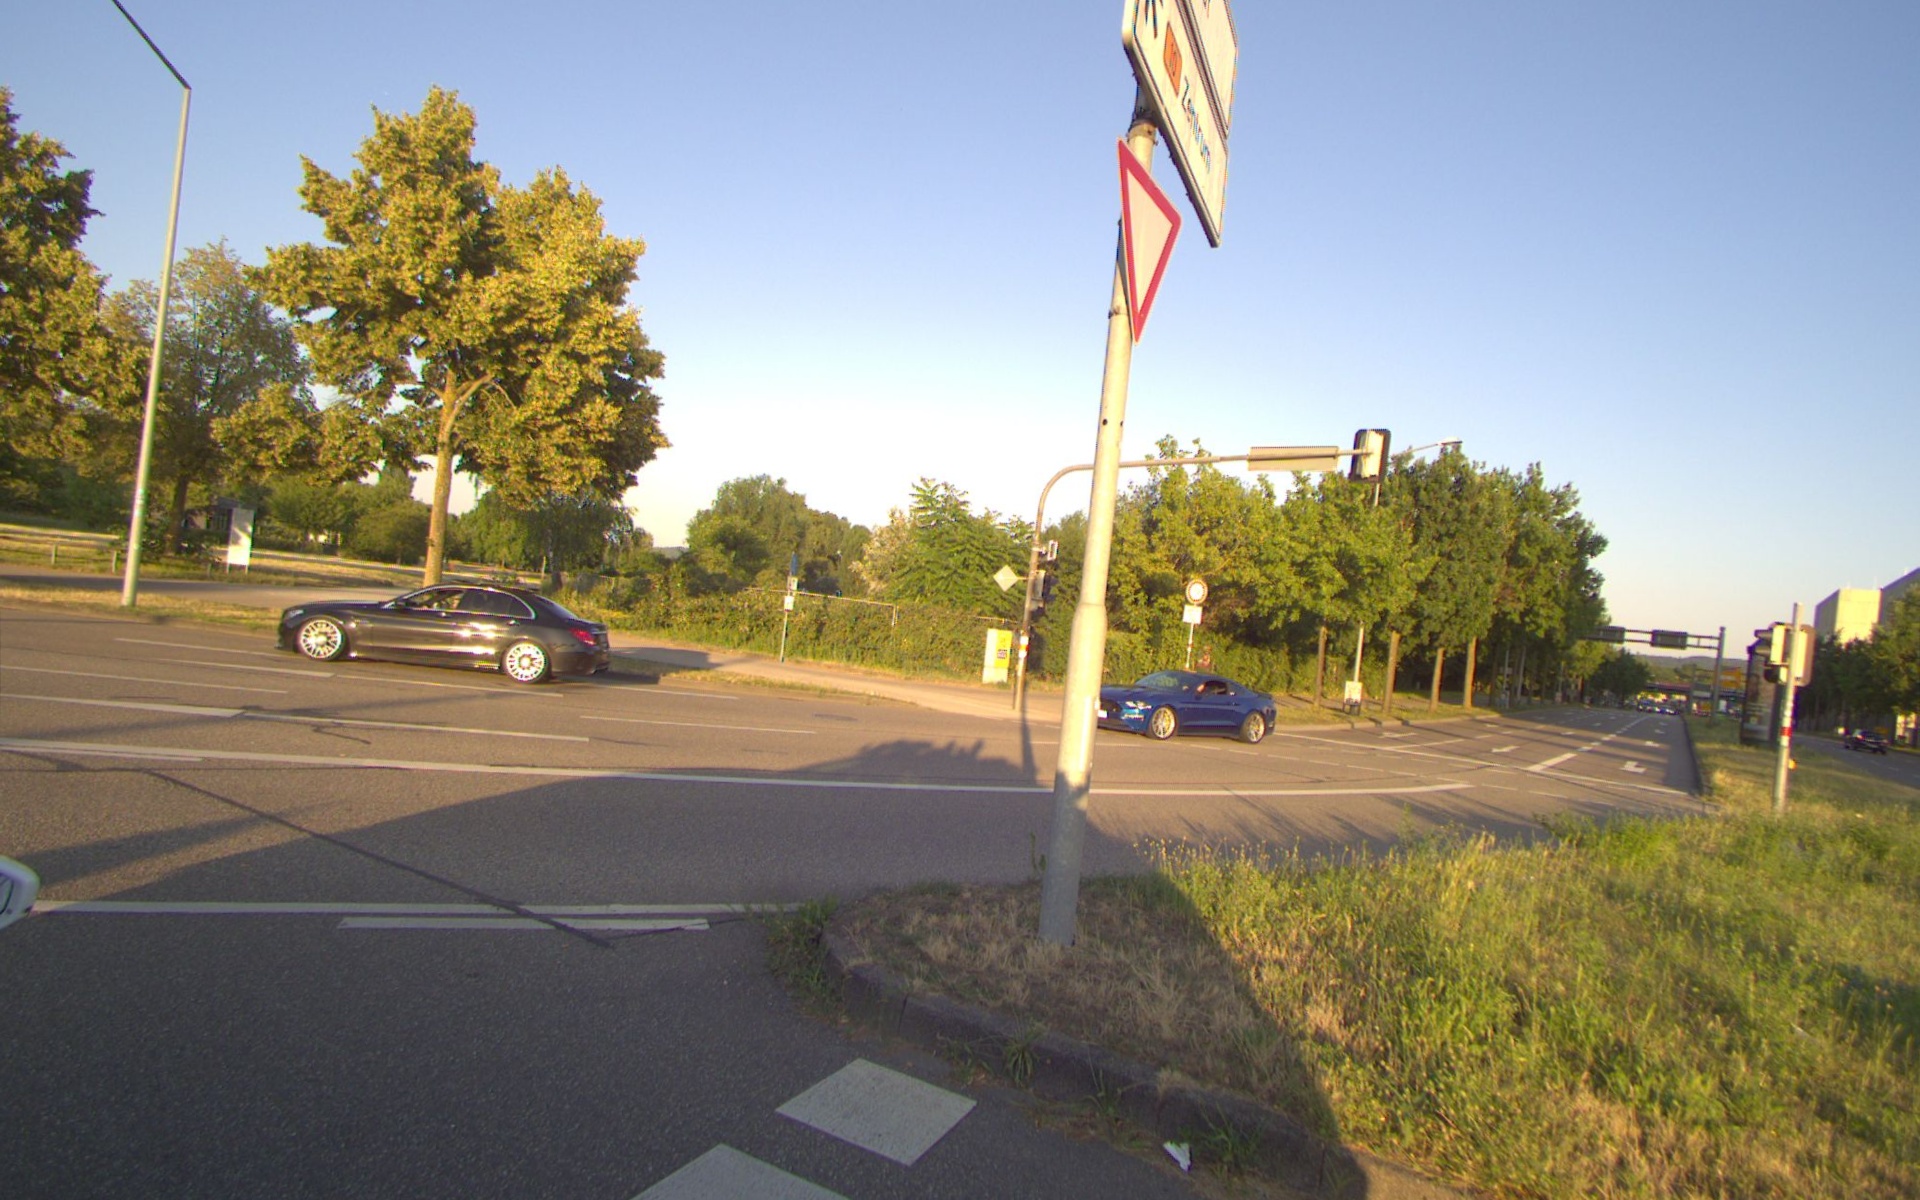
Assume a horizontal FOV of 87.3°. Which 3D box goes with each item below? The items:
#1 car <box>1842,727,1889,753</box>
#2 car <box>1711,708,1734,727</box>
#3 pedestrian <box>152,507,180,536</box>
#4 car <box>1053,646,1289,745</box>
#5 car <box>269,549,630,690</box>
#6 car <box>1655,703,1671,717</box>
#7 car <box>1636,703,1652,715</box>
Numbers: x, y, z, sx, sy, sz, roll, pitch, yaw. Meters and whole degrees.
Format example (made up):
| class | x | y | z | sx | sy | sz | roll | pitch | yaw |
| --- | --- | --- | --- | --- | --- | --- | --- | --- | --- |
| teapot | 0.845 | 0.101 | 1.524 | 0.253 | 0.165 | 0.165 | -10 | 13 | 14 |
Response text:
| class | x | y | z | sx | sy | sz | roll | pitch | yaw |
| --- | --- | --- | --- | --- | --- | --- | --- | --- | --- |
| car | 60.452 | 9.314 | 67.211 | 1.724 | 1.395 | 4.115 | 6 | -2 | 35 |
| car | 95.562 | 14.755 | 126.055 | 1.971 | 2.038 | 3.985 | 6 | -1 | 38 |
| pedestrian | -51.556 | -5.095 | 65.306 | 0.896 | 1.637 | 1.070 | 7 | 0 | 35 |
| car | 4.372 | 1.980 | 20.482 | 4.731 | 1.523 | 1.980 | 8 | -1 | -37 |
| car | -7.736 | 0.348 | 15.784 | 4.546 | 1.522 | 1.997 | 7 | -3 | -13 |
| car | 114.730 | 17.937 | 164.250 | 1.969 | 2.036 | 3.990 | 6 | -2 | 36 |
| car | 119.644 | 19.055 | 175.929 | 1.968 | 1.801 | 3.993 | 6 | -2 | 33 |
